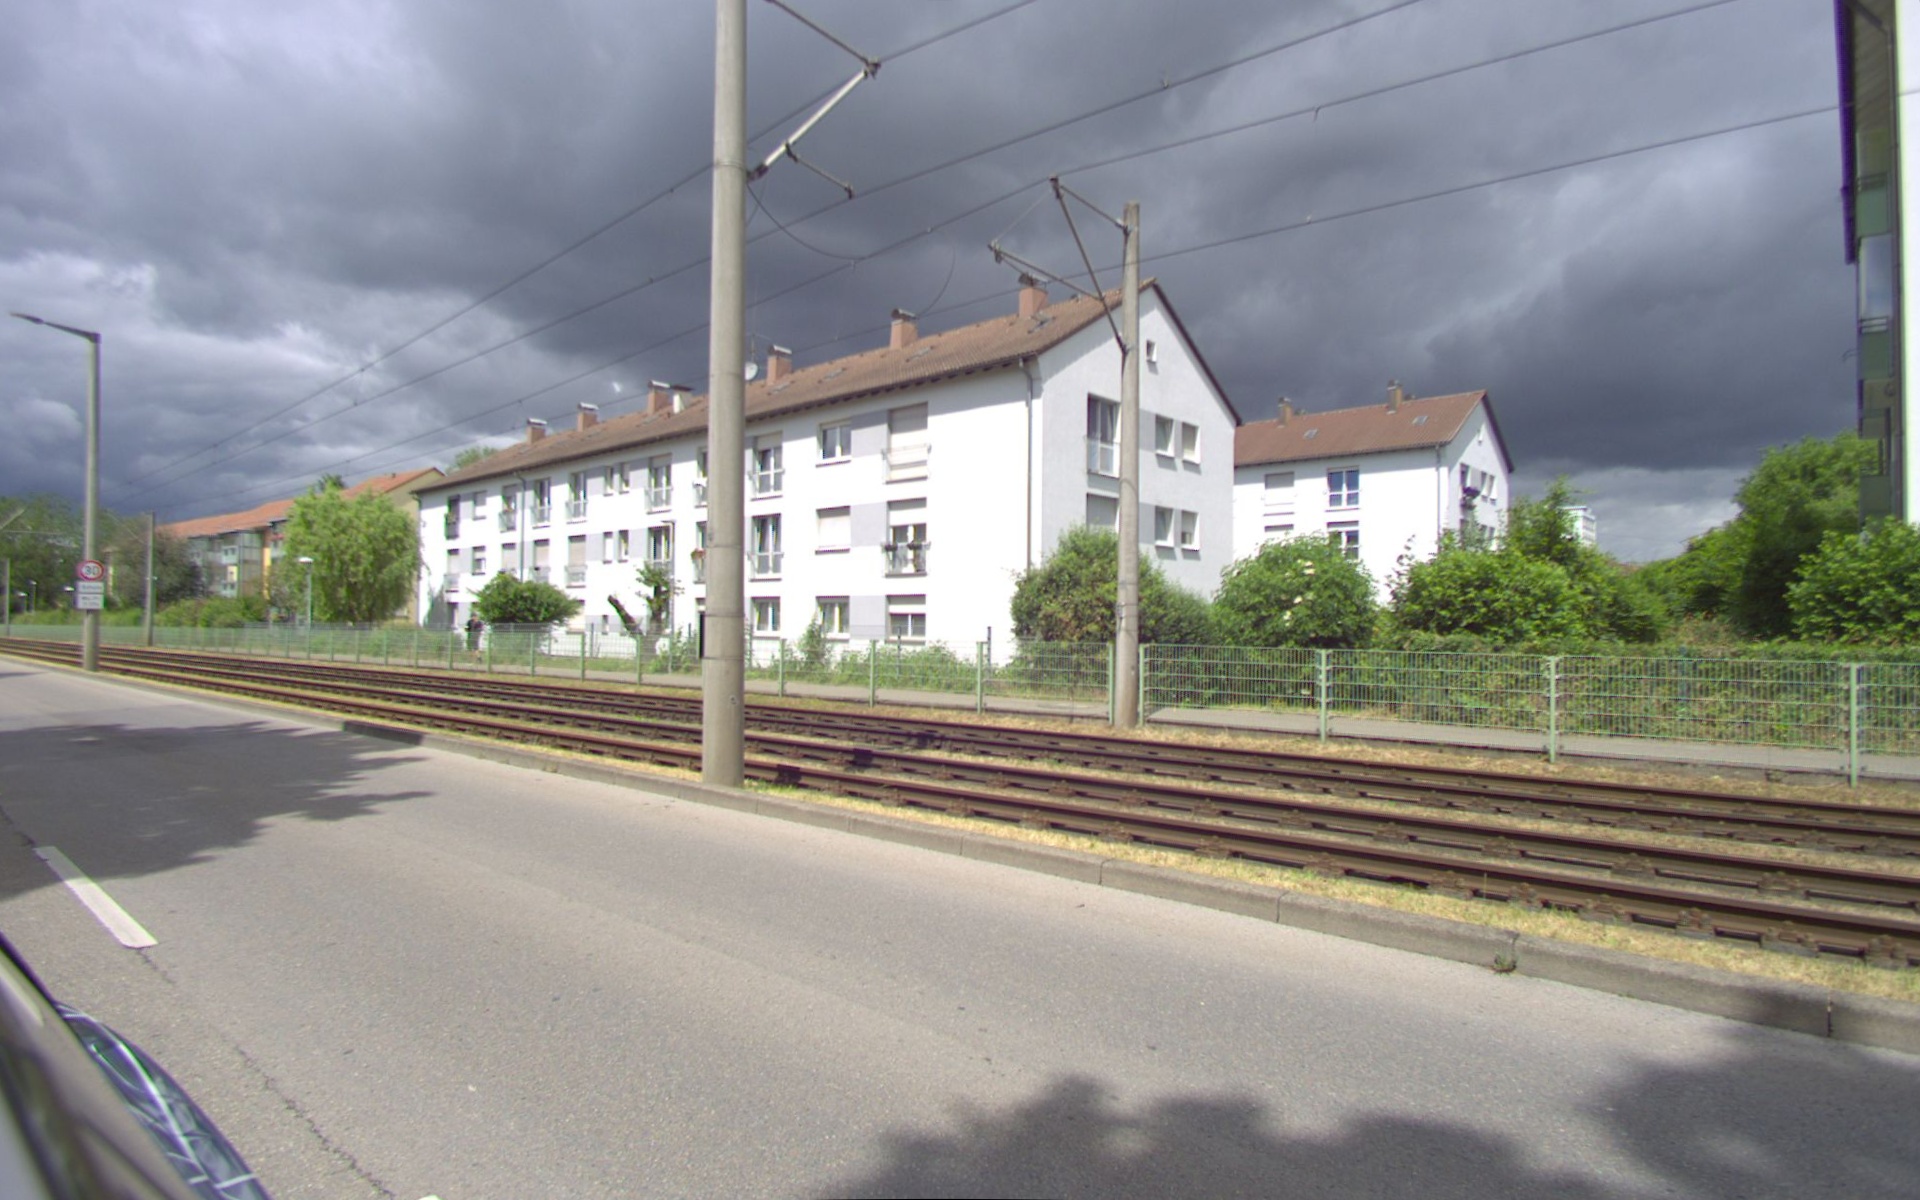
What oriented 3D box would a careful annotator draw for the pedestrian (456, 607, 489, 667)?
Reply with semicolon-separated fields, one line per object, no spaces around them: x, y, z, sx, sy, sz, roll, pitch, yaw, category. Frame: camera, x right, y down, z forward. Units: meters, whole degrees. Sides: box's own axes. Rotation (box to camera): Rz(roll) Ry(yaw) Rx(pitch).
-15.434;1.183;32.042;0.768;1.863;0.652;-1;-3;41;pedestrian
